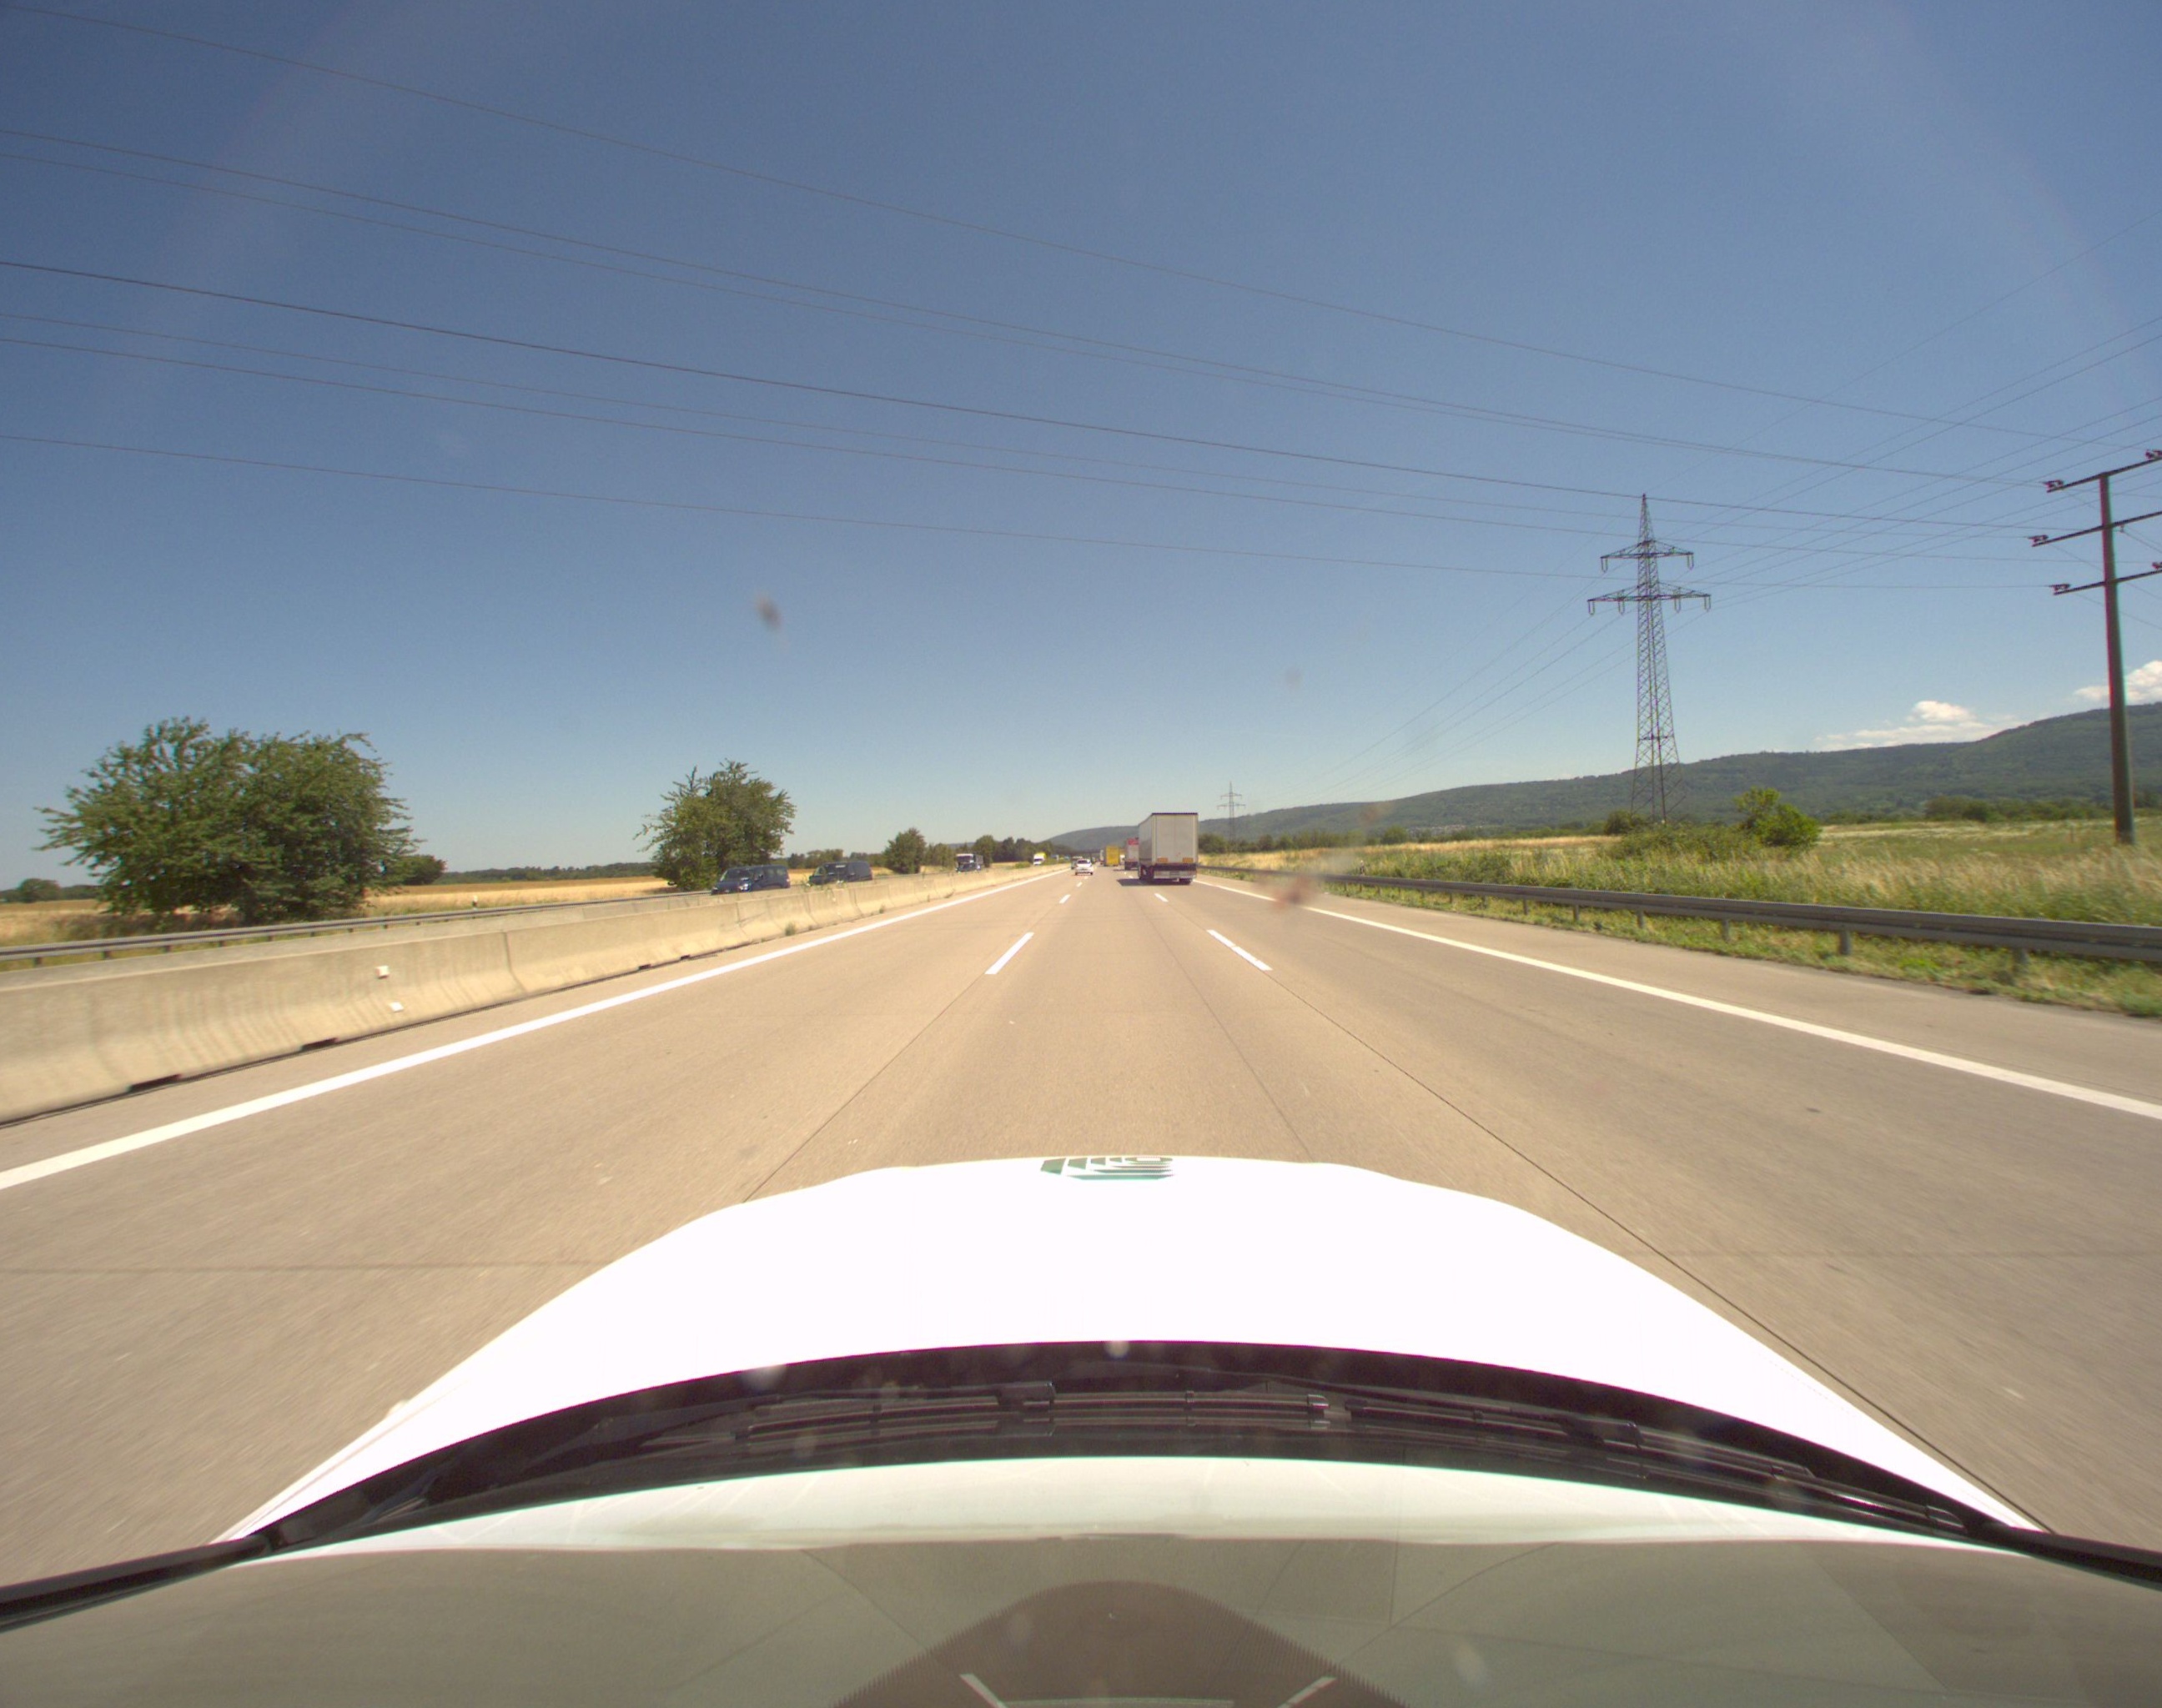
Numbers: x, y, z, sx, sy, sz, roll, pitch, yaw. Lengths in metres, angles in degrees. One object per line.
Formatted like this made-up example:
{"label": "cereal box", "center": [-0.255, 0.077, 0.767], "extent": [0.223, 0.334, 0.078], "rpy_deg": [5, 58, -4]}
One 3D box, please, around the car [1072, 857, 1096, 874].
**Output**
{"label": "car", "center": [0.353, 1.066, 78.143], "extent": [2.098, 1.536, 4.125], "rpy_deg": [0, 0, 3]}

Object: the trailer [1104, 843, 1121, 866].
{"label": "trailer", "center": [6.446, 0.197, 167.527], "extent": [3.203, 4.564, 13.462], "rpy_deg": [0, 0, 2]}

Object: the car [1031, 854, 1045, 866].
{"label": "car", "center": [-8.247, 1.153, 155.679], "extent": [2.202, 2.188, 6.327], "rpy_deg": [0, 0, 1]}

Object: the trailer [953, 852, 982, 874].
{"label": "trailer", "center": [-17.603, 1.351, 126.896], "extent": [2.818, 3.305, 9.465], "rpy_deg": [0, 0, 1]}

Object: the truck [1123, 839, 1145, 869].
{"label": "truck", "center": [7.386, 0.002, 113.309], "extent": [2.894, 4.101, 6.275], "rpy_deg": [0, 0, 2]}

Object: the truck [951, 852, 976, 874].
{"label": "truck", "center": [-17.743, 1.330, 122.810], "extent": [2.796, 3.305, 5.615], "rpy_deg": [0, 0, 1]}

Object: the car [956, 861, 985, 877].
{"label": "car", "center": [-10.225, 1.400, 75.855], "extent": [1.986, 1.448, 4.683], "rpy_deg": [0, 0, 1]}

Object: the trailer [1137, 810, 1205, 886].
{"label": "trailer", "center": [5.384, -0.288, 51.341], "extent": [3.007, 4.061, 14.209], "rpy_deg": [0, 0, 1]}

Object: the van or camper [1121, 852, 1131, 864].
{"label": "van or camper", "center": [10.224, 0.910, 185.426], "extent": [2.216, 2.531, 5.432], "rpy_deg": [0, 0, 1]}

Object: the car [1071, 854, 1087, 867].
{"label": "car", "center": [-0.235, 0.978, 124.116], "extent": [2.246, 2.014, 4.300], "rpy_deg": [0, 0, 2]}

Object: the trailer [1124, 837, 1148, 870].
{"label": "trailer", "center": [7.095, -0.032, 106.557], "extent": [2.862, 4.101, 13.520], "rpy_deg": [0, 0, 3]}

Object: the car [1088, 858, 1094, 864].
{"label": "car", "center": [2.855, 1.996, 234.844], "extent": [1.777, 1.881, 4.002], "rpy_deg": [0, 0, 2]}

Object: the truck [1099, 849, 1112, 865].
{"label": "truck", "center": [6.805, 0.895, 226.343], "extent": [3.340, 4.272, 8.232], "rpy_deg": [0, 0, 2]}

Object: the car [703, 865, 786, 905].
{"label": "car", "center": [-16.027, 1.443, 38.978], "extent": [2.161, 1.790, 4.002], "rpy_deg": [0, 0, 2]}

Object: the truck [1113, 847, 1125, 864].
{"label": "truck", "center": [9.879, 0.318, 213.352], "extent": [2.988, 4.314, 9.687], "rpy_deg": [0, 0, 2]}

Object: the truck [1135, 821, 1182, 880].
{"label": "truck", "center": [5.515, -0.245, 58.677], "extent": [2.973, 4.062, 5.479], "rpy_deg": [0, 0, 1]}

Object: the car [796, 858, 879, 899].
{"label": "car", "center": [-11.616, 1.117, 39.362], "extent": [1.985, 1.826, 5.829], "rpy_deg": [0, 0, 3]}
